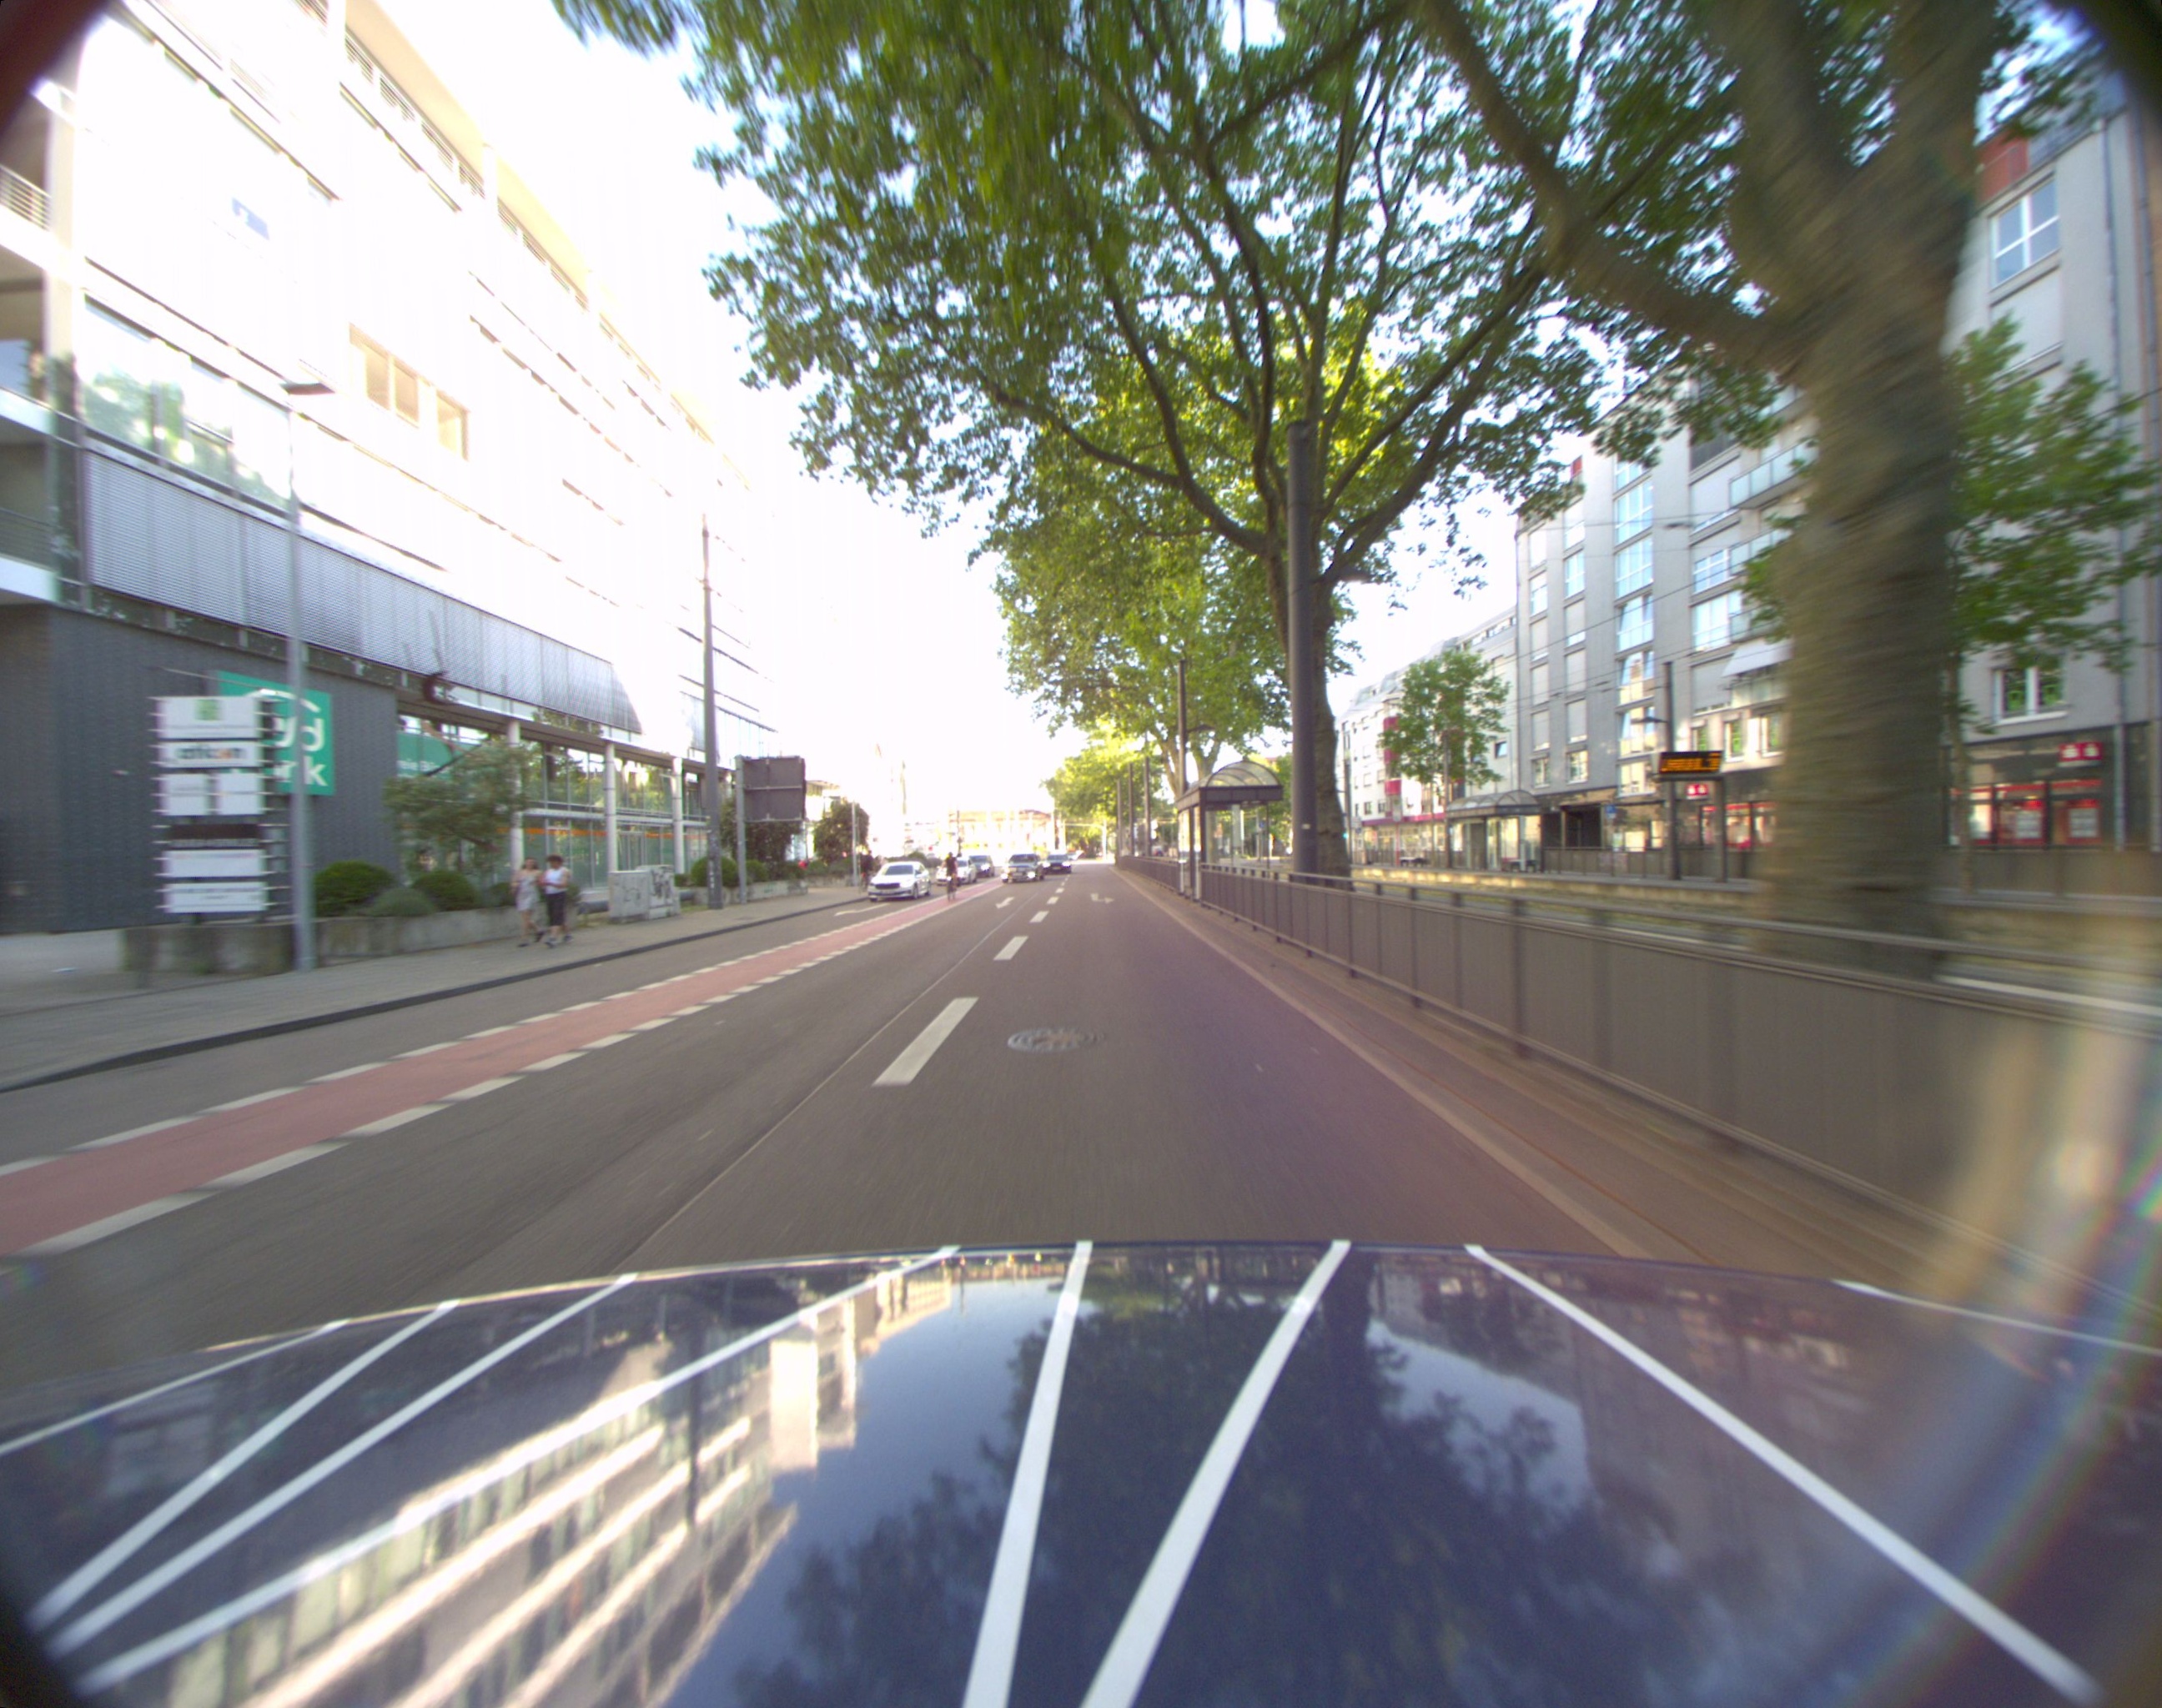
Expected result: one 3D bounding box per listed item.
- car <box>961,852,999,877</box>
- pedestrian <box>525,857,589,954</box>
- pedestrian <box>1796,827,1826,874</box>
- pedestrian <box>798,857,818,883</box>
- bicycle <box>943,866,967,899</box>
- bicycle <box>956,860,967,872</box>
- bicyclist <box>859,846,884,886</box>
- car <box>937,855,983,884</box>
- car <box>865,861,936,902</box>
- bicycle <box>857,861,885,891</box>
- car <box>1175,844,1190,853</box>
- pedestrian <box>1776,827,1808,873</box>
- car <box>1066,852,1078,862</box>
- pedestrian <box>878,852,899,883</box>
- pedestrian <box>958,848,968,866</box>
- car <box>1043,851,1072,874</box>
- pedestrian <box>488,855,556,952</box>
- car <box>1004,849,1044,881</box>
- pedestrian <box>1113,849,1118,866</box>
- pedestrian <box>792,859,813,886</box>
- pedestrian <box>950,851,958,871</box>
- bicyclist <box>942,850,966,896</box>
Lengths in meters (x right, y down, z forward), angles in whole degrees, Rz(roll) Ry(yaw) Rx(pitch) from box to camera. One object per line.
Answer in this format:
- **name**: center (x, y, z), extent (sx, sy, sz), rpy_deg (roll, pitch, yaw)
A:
- **car**: center (-6.822, 0.700, 51.780), extent (1.998, 1.587, 3.999), rpy_deg (-1, 1, 0)
- **pedestrian**: center (-10.064, 0.956, 14.609), extent (0.564, 1.798, 0.891), rpy_deg (-1, 1, 0)
- **pedestrian**: center (27.846, -0.139, 28.992), extent (0.503, 1.760, 0.628), rpy_deg (-3, 2, 0)
- **pedestrian**: center (-13.775, 0.798, 38.360), extent (0.785, 1.264, 0.543), rpy_deg (-2, 1, -4)
- **bicycle**: center (-4.655, 1.020, 28.166), extent (0.551, 1.114, 2.126), rpy_deg (-1, 1, -1)
- **bicycle**: center (-9.238, 0.913, 58.660), extent (0.499, 0.841, 1.903), rpy_deg (2, 1, 1)
- **bicyclist**: center (-9.485, 0.537, 34.364), extent (0.743, 1.752, 1.209), rpy_deg (2, 1, 1)
- **car**: center (-6.650, 0.846, 42.007), extent (1.671, 1.455, 3.869), rpy_deg (-1, 1, 3)
- **car**: center (-7.016, 1.037, 29.934), extent (1.786, 1.411, 4.021), rpy_deg (-1, 1, 0)
- **bicycle**: center (-9.494, 0.990, 34.371), extent (0.665, 1.268, 1.927), rpy_deg (2, 1, 1)
- **car**: center (17.905, -0.952, 134.305), extent (1.998, 1.455, 3.999), rpy_deg (-1, 1, 0)
- **pedestrian**: center (27.997, -0.166, 29.923), extent (0.503, 1.760, 0.784), rpy_deg (-3, 2, 0)
- **car**: center (-1.522, 0.475, 121.734), extent (1.827, 1.416, 4.345), rpy_deg (-3, 1, -1)
- **pedestrian**: center (-9.996, 0.695, 39.474), extent (0.753, 1.566, 0.912), rpy_deg (-1, 1, 3)
- **pedestrian**: center (-10.617, 0.297, 68.392), extent (0.693, 1.573, 0.664), rpy_deg (1, 1, 1)
- **car**: center (-1.596, 0.529, 52.031), extent (1.827, 1.416, 4.345), rpy_deg (-3, 1, -1)
- **pedestrian**: center (-10.684, 0.924, 14.558), extent (0.591, 1.798, 0.895), rpy_deg (-1, 1, 0)
- **car**: center (-3.051, 0.571, 41.716), extent (1.785, 1.629, 4.021), rpy_deg (-1, 1, 1)
- **pedestrian**: center (3.213, 0.329, 69.967), extent (0.389, 1.558, 0.335), rpy_deg (-1, 1, 6)
- **pedestrian**: center (-13.811, 0.918, 37.665), extent (0.752, 1.264, 0.693), rpy_deg (-2, 1, -4)
- **pedestrian**: center (-9.791, 0.527, 58.557), extent (0.527, 1.573, 0.589), rpy_deg (1, 1, 1)
- **bicyclist**: center (-4.716, 0.685, 28.195), extent (0.752, 1.678, 0.714), rpy_deg (-1, 1, -1)
